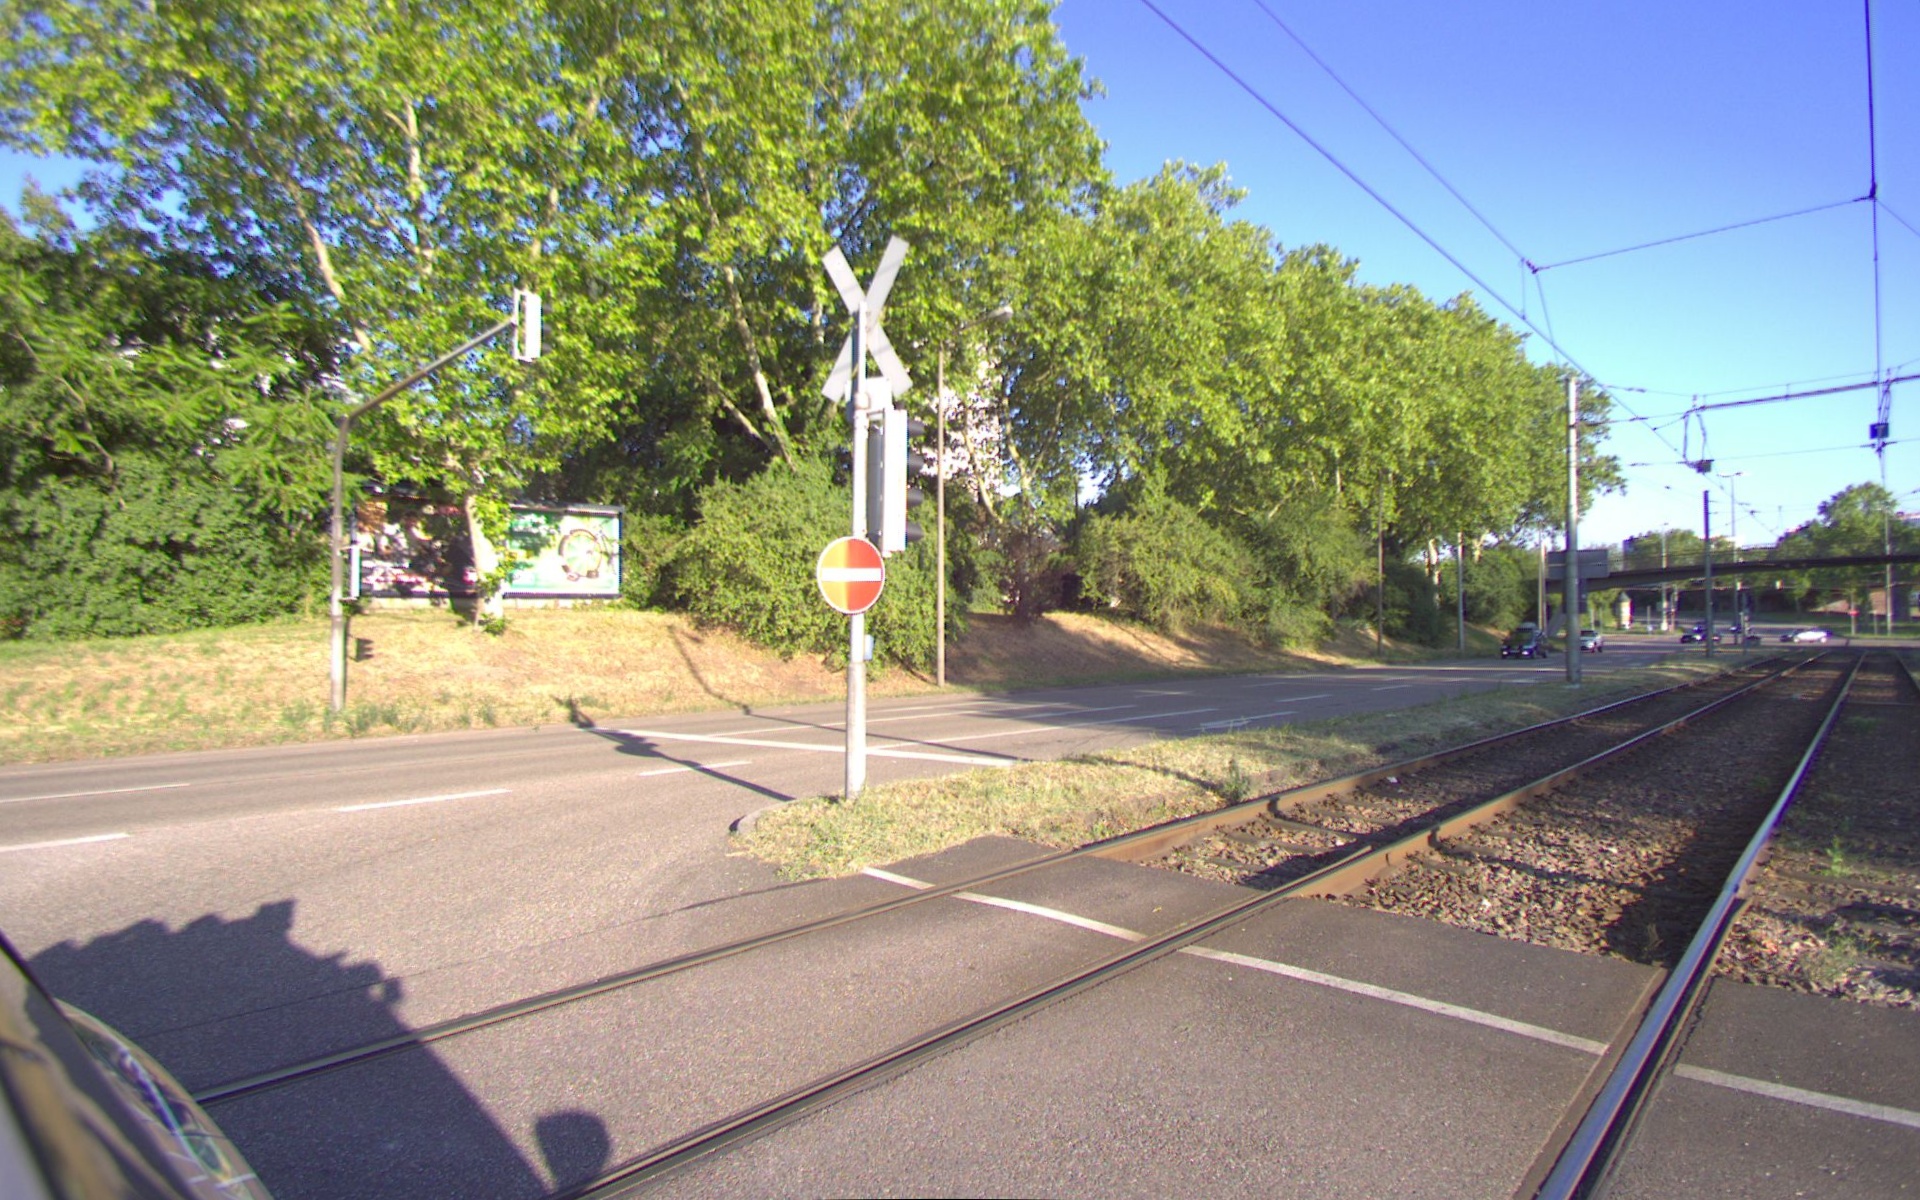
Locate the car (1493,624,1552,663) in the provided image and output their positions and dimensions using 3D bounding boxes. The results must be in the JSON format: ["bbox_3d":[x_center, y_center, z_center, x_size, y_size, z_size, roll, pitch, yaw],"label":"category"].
[{"bbox_3d":[33.215,2.558,59.700,2.000,2.179,4.130,-3,-3,44],"label":"car"}]

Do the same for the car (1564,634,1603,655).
[{"bbox_3d":[45.204,3.218,73.326,1.997,1.452,4.138,-3,-3,37],"label":"car"}]
